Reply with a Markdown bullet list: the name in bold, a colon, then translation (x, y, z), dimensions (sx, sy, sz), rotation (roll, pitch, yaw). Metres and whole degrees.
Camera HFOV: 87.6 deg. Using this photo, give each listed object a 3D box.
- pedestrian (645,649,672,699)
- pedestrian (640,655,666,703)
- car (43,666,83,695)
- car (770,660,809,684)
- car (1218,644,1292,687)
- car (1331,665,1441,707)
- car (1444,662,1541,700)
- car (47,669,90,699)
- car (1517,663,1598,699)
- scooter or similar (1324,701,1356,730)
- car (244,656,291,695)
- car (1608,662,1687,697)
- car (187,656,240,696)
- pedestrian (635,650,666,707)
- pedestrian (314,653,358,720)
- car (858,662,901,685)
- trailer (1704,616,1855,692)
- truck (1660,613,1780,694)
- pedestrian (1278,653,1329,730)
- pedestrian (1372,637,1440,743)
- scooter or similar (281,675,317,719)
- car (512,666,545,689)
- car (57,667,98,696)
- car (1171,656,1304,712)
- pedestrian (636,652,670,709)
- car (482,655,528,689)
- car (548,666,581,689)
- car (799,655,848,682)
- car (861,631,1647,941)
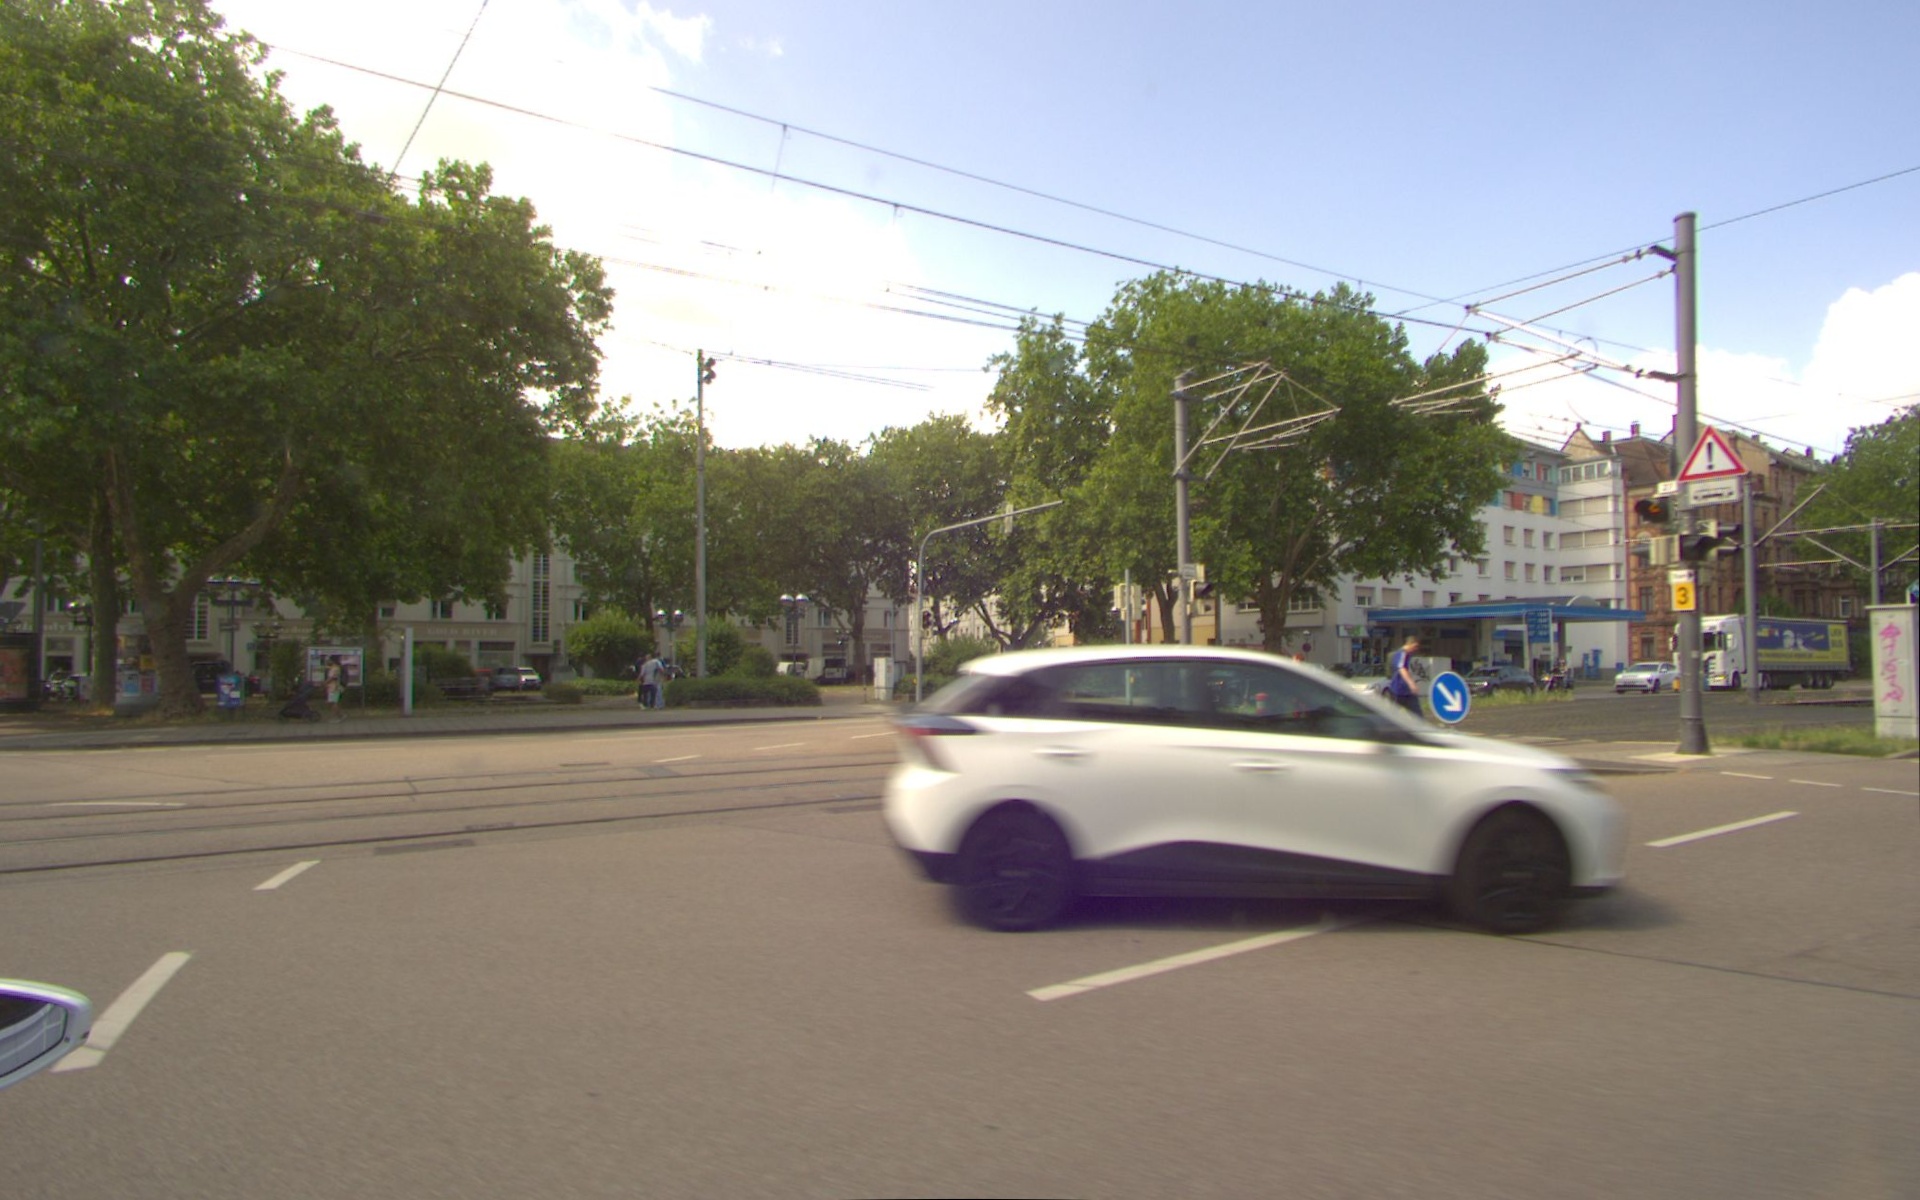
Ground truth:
- **pedestrian**: translation (-10.849, 2.669, 36.070), dimensions (0.597, 1.772, 0.695), rotation (-2, -3, 33)
- **pedestrian**: translation (-11.473, 2.935, 37.432), dimensions (0.598, 1.772, 0.695), rotation (-2, -3, 33)
- **car**: translation (-53.521, 4.789, 59.799), dimensions (1.453, 1.686, 3.046), rotation (2, -5, -37)
- **car**: translation (-14.584, 6.149, 85.549), dimensions (1.972, 1.988, 3.981), rotation (1, -4, -31)
- **car**: translation (17.372, 3.857, 58.988), dimensions (3.946, 2.449, 2.102), rotation (2, -4, -32)
- **car**: translation (16.111, 3.210, 37.825), dimensions (4.270, 1.483, 1.725), rotation (2, -4, -33)
- **car**: translation (22.265, 3.344, 41.852), dimensions (3.919, 1.464, 1.845), rotation (1, -3, -32)
- **car**: translation (-43.120, 4.037, 48.454), dimensions (1.455, 1.406, 3.041), rotation (3, -5, -41)
- **car**: translation (27.047, 3.646, 45.332), dimensions (3.703, 1.582, 1.677), rotation (2, -4, -33)
- **scooter or similar**: translation (7.556, 2.297, 19.929), dimensions (0.516, 0.542, 0.308), rotation (-1, -2, 45)
- **car**: translation (-38.732, 4.198, 56.075), dimensions (1.973, 2.101, 3.979), rotation (2, -4, -32)
- **car**: translation (34.921, 4.014, 50.859), dimensions (4.079, 1.726, 1.845), rotation (2, -4, -32)
- **car**: translation (-40.964, 4.147, 55.024), dimensions (1.973, 2.101, 3.979), rotation (2, -4, -32)
- **pedestrian**: translation (-9.943, 2.509, 32.190), dimensions (0.683, 1.786, 0.667), rotation (-2, -3, 33)
- **pedestrian**: translation (-15.829, 2.182, 25.415), dimensions (0.910, 1.666, 0.567), rotation (2, -3, -32)
- **car**: translation (-6.383, 5.779, 78.754), dimensions (1.829, 1.700, 3.981), rotation (1, -4, -31)
- **trailer**: translation (48.114, 3.152, 58.669), dimensions (11.486, 4.127, 2.904), rotation (2, -4, -30)
- **truck**: translation (41.683, 2.939, 54.892), dimensions (6.498, 4.199, 2.904), rotation (2, -4, -31)
- **pedestrian**: translation (6.993, 1.849, 20.371), dimensions (0.768, 1.510, 0.652), rotation (-3, -4, 45)
- **pedestrian**: translation (7.593, 1.514, 17.054), dimensions (0.734, 1.752, 0.768), rotation (2, -3, -33)
- **scooter or similar**: translation (-16.513, 2.407, 25.012), dimensions (0.699, 1.069, 0.488), rotation (2, -3, -32)
- **car**: translation (-31.882, 5.712, 73.887), dimensions (1.720, 1.657, 3.981), rotation (1, -4, -31)
- **car**: translation (-45.350, 4.179, 51.511), dimensions (1.454, 1.406, 3.211), rotation (3, -5, -40)
- **car**: translation (9.306, 2.775, 33.502), dimensions (4.359, 1.748, 1.845), rotation (2, -4, -32)
- **pedestrian**: translation (-9.569, 2.494, 31.190), dimensions (0.683, 1.744, 0.716), rotation (-2, -3, 33)
- **car**: translation (-28.902, 4.564, 63.555), dimensions (1.975, 2.038, 3.977), rotation (2, -4, -34)
- **car**: translation (-29.727, 5.783, 75.236), dimensions (1.720, 1.657, 3.981), rotation (1, -4, -31)
- **car**: translation (-10.317, 5.174, 75.563), dimensions (2.075, 1.928, 4.470), rotation (1, -4, -31)
- **car**: translation (1.532, 1.026, 6.123), dimensions (4.050, 1.524, 1.822), rotation (1, -4, 1)
